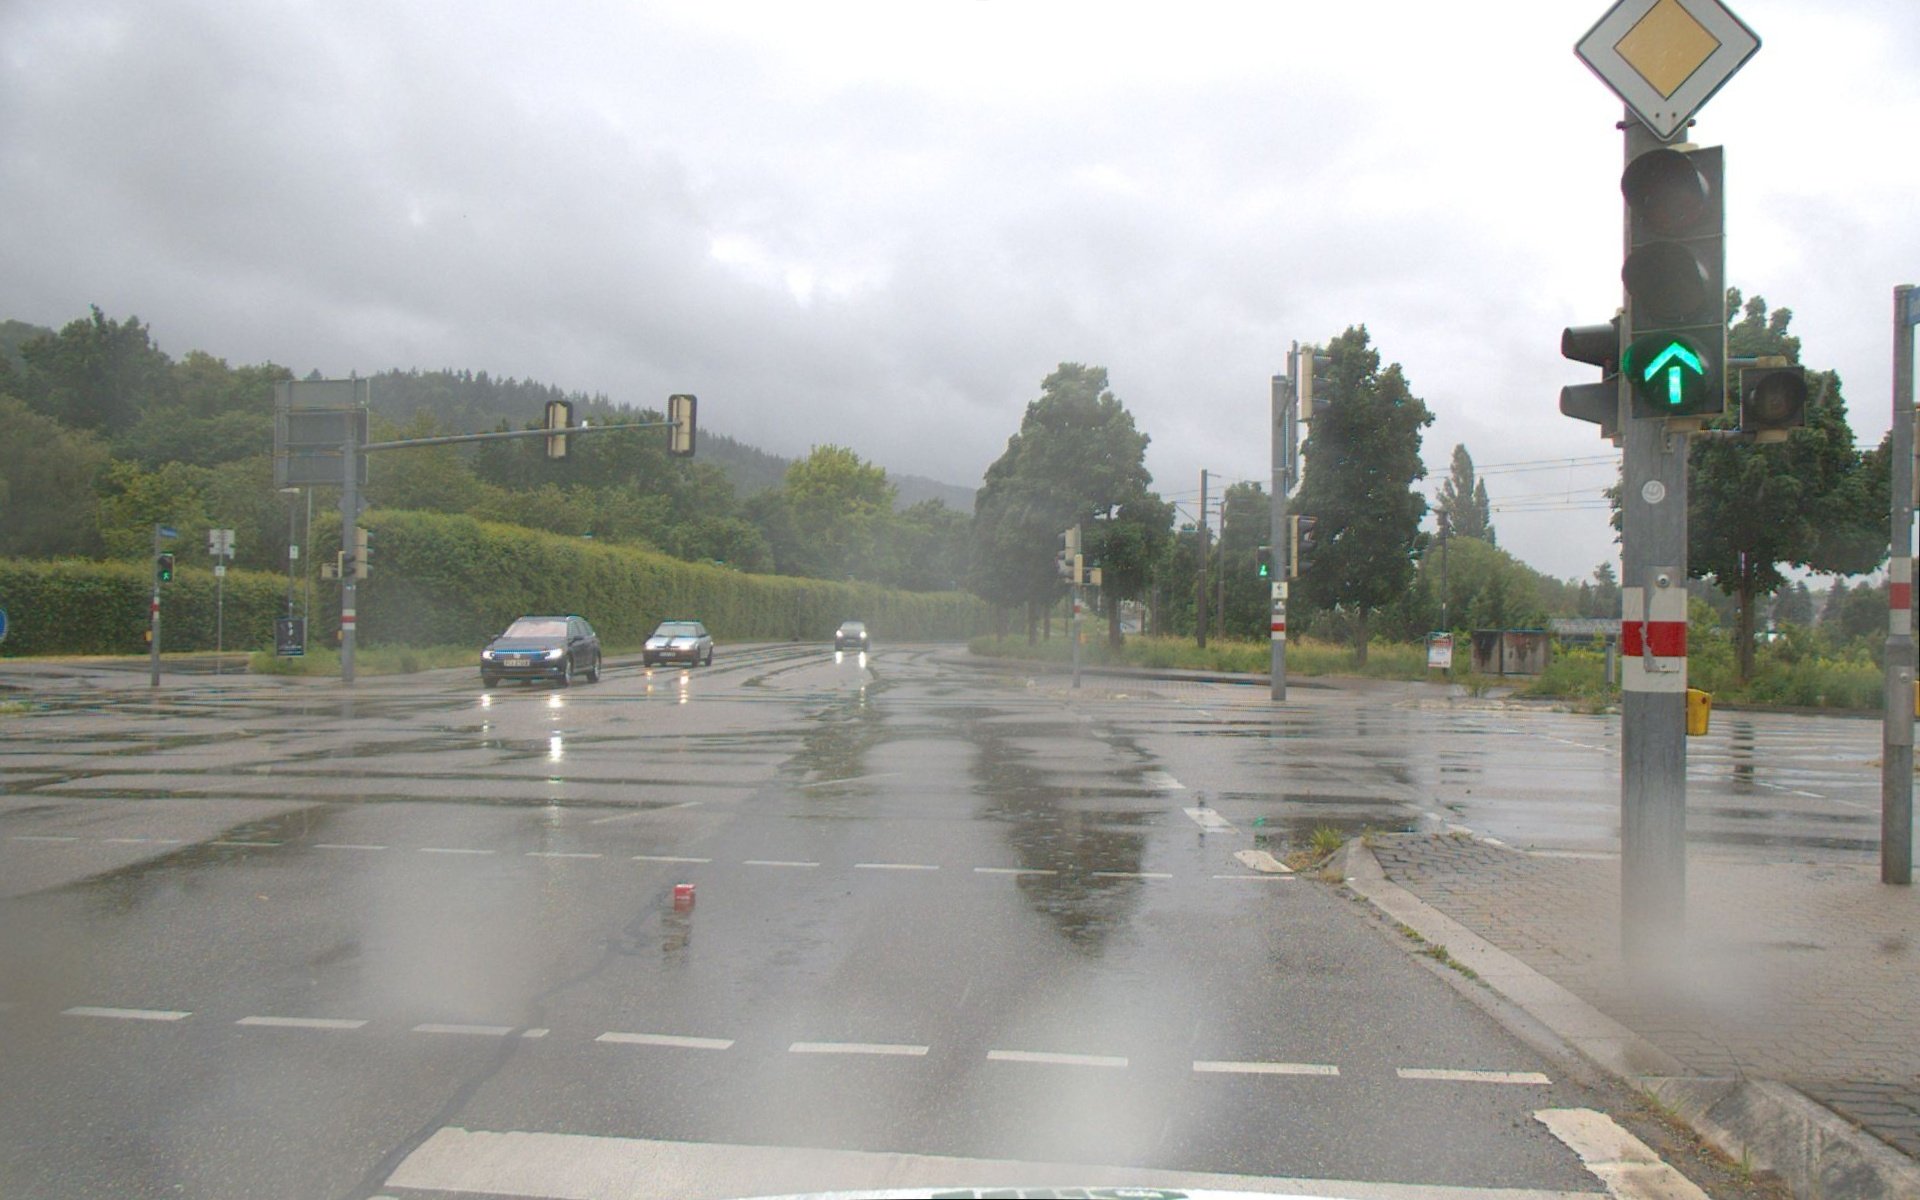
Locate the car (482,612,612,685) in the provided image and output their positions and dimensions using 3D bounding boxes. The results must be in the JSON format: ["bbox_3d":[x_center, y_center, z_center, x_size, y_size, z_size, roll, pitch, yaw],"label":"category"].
[{"bbox_3d":[-9.034,1.030,36.501,1.673,1.491,4.453,0,-1,1],"label":"car"}]

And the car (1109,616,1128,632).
[{"bbox_3d":[20.007,3.003,208.675,1.912,1.937,4.123,0,0,13],"label":"car"}]

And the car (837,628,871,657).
[{"bbox_3d":[-5.867,2.350,91.752,1.749,1.531,4.059,0,0,-2],"label":"car"}]

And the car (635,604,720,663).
[{"bbox_3d":[-8.788,1.001,51.822,1.995,1.738,4.065,1,0,-1],"label":"car"}]
